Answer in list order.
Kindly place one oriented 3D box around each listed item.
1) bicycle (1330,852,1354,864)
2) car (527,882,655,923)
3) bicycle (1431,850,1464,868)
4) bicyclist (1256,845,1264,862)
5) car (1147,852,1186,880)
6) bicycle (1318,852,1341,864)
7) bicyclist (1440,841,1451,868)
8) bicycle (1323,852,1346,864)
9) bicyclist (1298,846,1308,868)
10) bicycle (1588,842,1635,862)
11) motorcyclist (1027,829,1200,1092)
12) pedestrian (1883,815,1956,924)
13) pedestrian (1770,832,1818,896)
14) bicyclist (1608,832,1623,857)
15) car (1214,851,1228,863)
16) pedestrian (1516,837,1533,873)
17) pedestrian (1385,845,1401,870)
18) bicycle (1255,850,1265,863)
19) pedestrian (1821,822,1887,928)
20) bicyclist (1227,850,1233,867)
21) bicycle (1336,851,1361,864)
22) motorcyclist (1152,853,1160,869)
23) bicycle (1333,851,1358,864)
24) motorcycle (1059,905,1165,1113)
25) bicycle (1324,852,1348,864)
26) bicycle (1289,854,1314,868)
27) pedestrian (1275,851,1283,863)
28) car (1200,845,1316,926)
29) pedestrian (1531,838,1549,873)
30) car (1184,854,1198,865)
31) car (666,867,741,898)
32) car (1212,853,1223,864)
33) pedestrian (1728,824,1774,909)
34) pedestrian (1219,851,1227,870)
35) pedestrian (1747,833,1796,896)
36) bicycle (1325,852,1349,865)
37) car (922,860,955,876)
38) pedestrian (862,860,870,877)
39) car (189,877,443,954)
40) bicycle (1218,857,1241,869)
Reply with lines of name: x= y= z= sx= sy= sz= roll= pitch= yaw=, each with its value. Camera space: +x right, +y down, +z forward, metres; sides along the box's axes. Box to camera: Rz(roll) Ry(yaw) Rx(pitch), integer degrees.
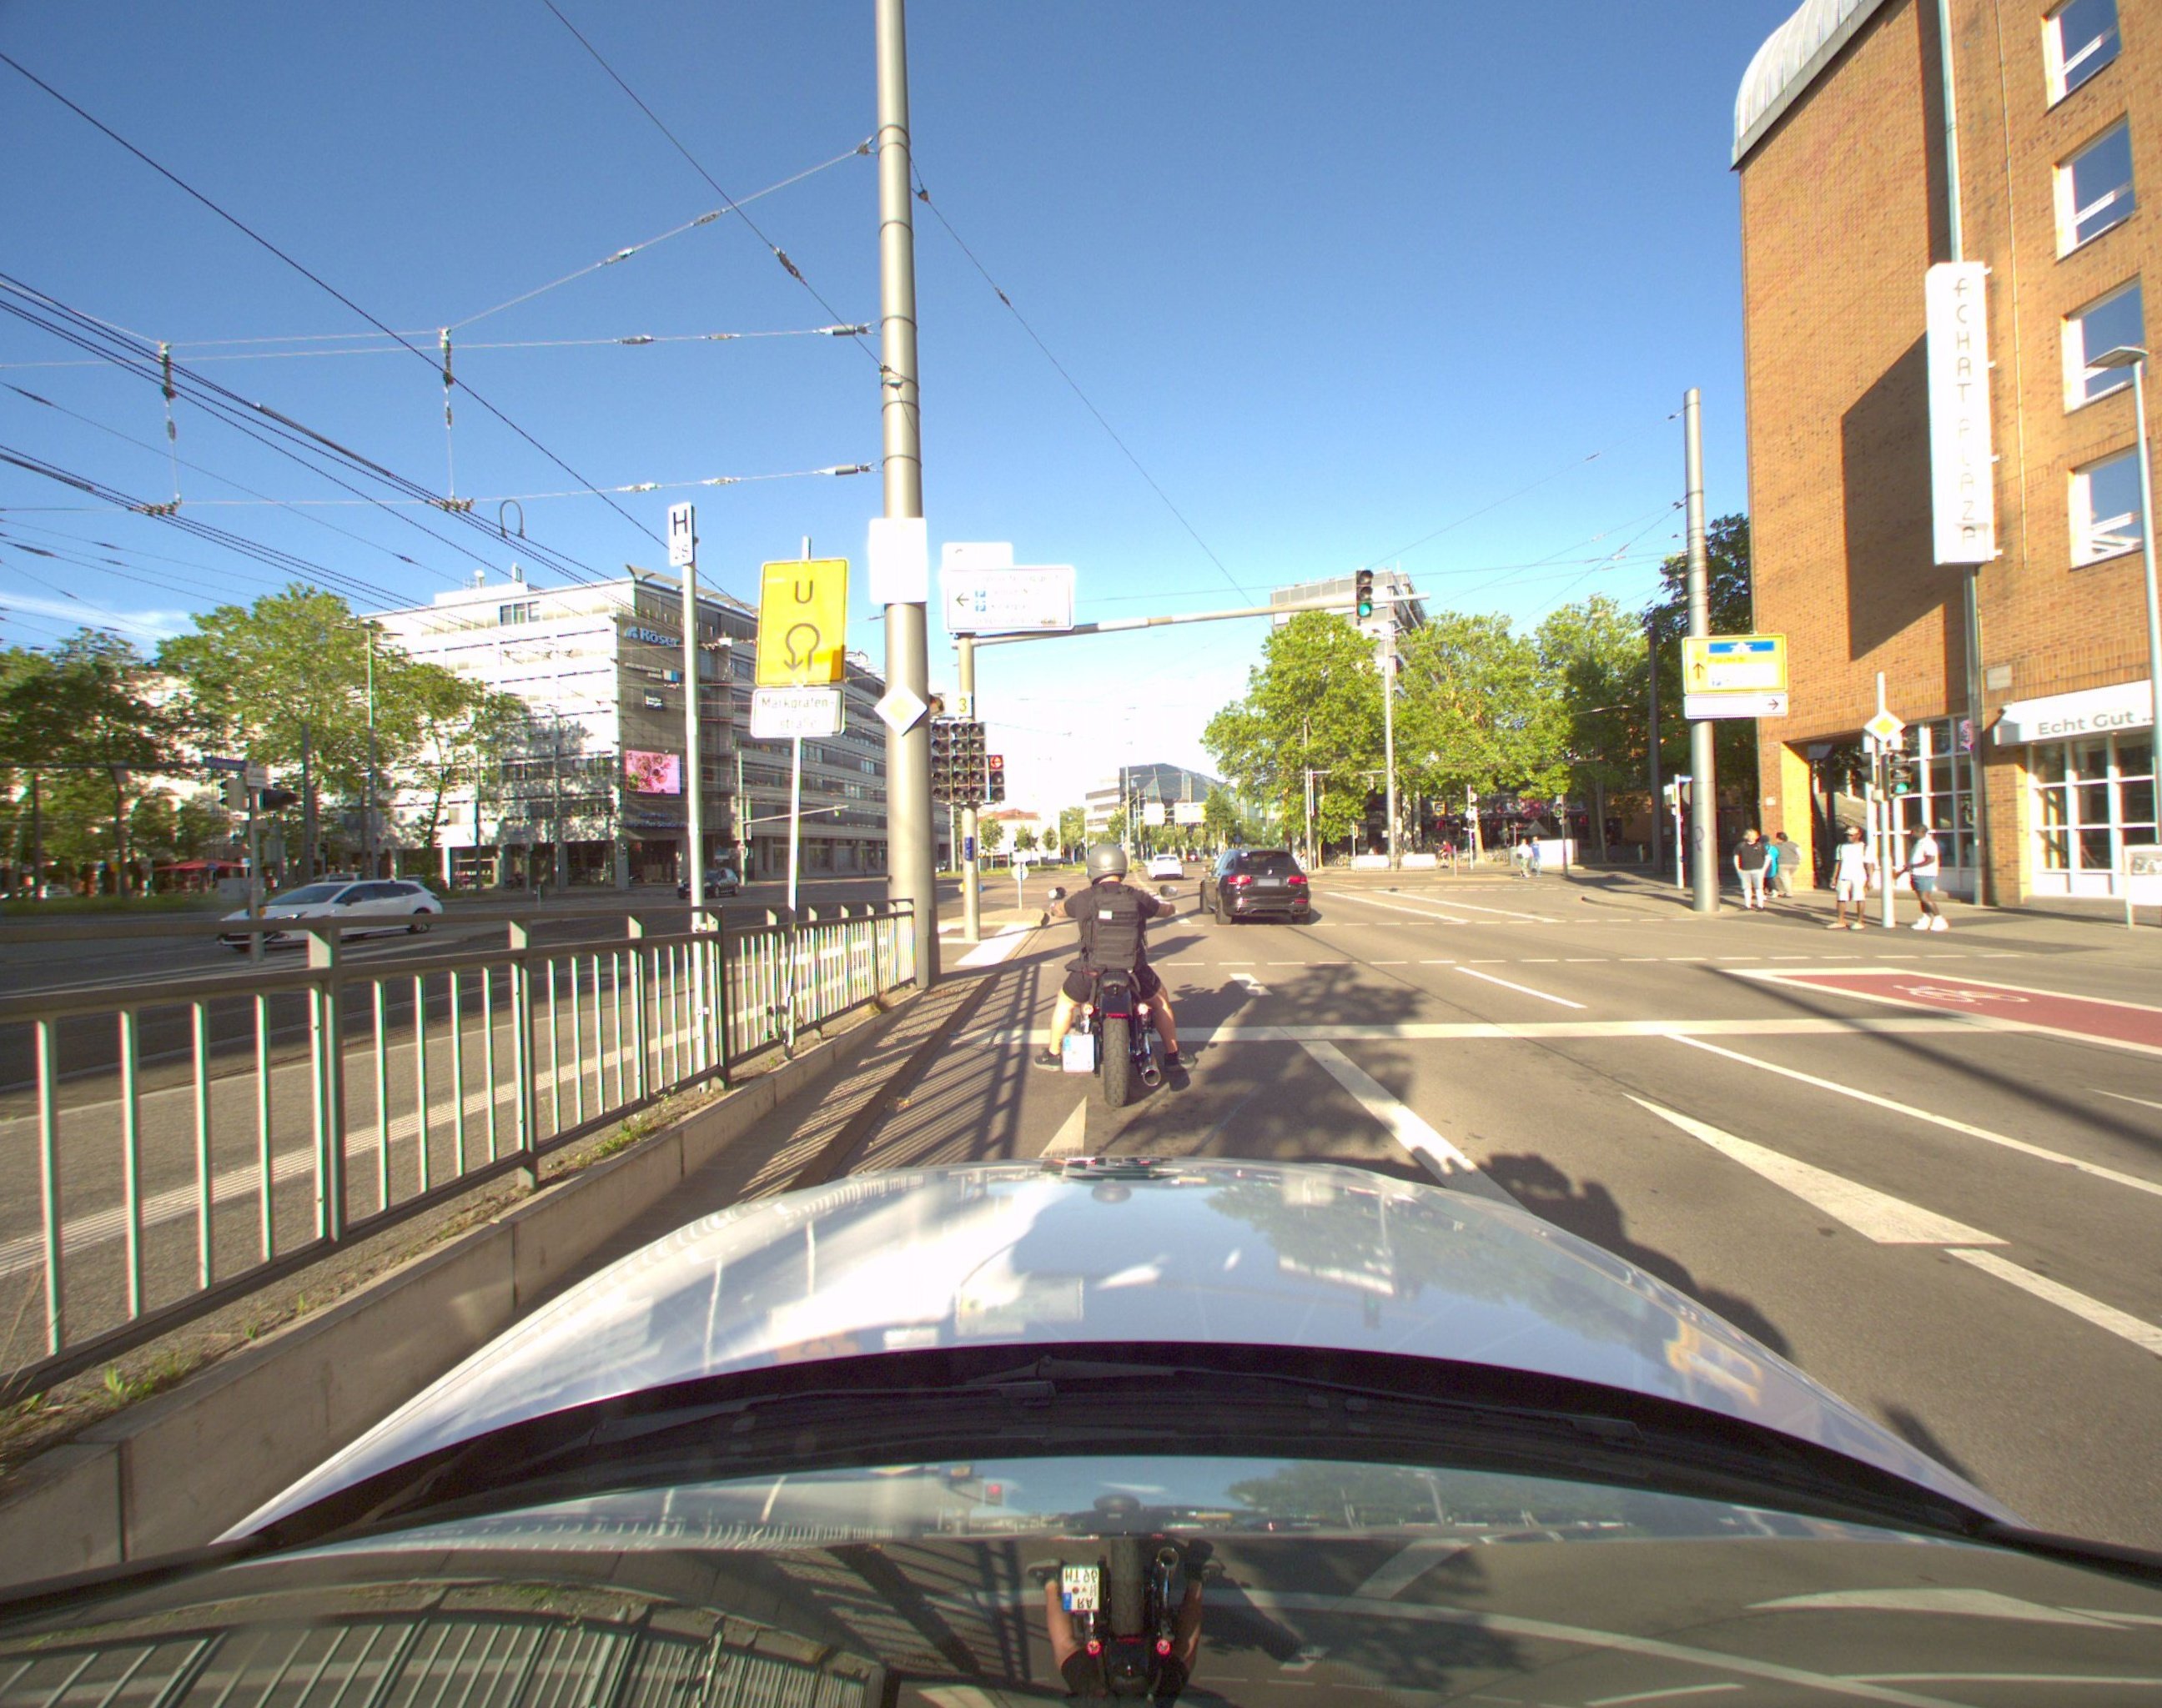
bicycle: x=21.465 y=0.332 z=66.985 sx=1.874 sy=1.046 sz=0.360 roll=0 pitch=-1 yaw=1
car: x=-13.837 y=1.357 z=23.144 sx=2.884 sy=1.063 sz=1.235 roll=0 pitch=-1 yaw=-19
bicycle: x=25.252 y=0.351 z=56.148 sx=2.034 sy=1.214 sz=0.421 roll=0 pitch=-1 yaw=2
bicyclist: x=18.665 y=-0.070 z=84.955 sx=0.693 sy=1.808 sz=0.730 roll=0 pitch=-1 yaw=6
car: x=4.786 y=0.655 z=46.153 sx=1.797 sy=1.430 sz=4.453 roll=-2 pitch=0 yaw=1
bicycle: x=21.486 y=0.359 z=70.311 sx=1.874 sy=1.046 sz=0.360 roll=0 pitch=0 yaw=1
bicyclist: x=25.123 y=0.043 z=56.162 sx=0.582 sy=1.837 sz=0.403 roll=0 pitch=-1 yaw=1
bicycle: x=21.500 y=0.353 z=69.159 sx=1.874 sy=1.046 sz=0.360 roll=0 pitch=0 yaw=1
bicyclist: x=17.731 y=0.245 z=64.927 sx=0.682 sy=1.673 sz=0.544 roll=-2 pitch=-2 yaw=21
bicycle: x=31.823 y=-0.090 z=48.864 sx=2.302 sy=1.178 sz=0.571 roll=-1 pitch=-1 yaw=20
motorcyclist: x=0.213 y=0.658 z=5.459 sx=1.027 sy=1.593 sz=0.874 roll=-2 pitch=0 yaw=1
pedestrian: x=14.173 y=0.252 z=13.774 sx=0.682 sy=1.780 sz=0.589 roll=-2 pitch=-1 yaw=-24
pedestrian: x=16.924 y=0.242 z=19.346 sx=0.590 sy=1.476 sz=0.552 roll=-2 pitch=-1 yaw=2
bicyclist: x=32.038 y=-0.555 z=48.792 sx=0.626 sy=1.519 sz=0.570 roll=-1 pitch=-1 yaw=21
car: x=21.268 y=0.478 z=123.750 sx=1.719 sy=1.732 sz=4.629 roll=0 pitch=0 yaw=14
pedestrian: x=19.107 y=0.057 z=35.086 sx=0.561 sy=1.533 sz=0.706 roll=-1 pitch=-1 yaw=22
pedestrian: x=21.683 y=0.250 z=56.679 sx=0.829 sy=1.704 sz=0.760 roll=0 pitch=-1 yaw=2
bicycle: x=18.687 y=0.275 z=85.153 sx=0.722 sy=1.367 sz=2.922 roll=0 pitch=-1 yaw=6
pedestrian: x=13.561 y=0.361 z=14.303 sx=0.587 sy=1.780 sz=0.686 roll=-5 pitch=0 yaw=30
bicyclist: x=12.283 y=0.395 z=66.978 sx=0.380 sy=1.373 sz=0.344 roll=0 pitch=-1 yaw=-7
bicycle: x=21.473 y=0.286 z=65.388 sx=1.874 sy=1.046 sz=0.360 roll=0 pitch=-1 yaw=1
motorcyclist: x=7.531 y=0.698 z=81.663 sx=0.792 sy=1.580 sz=0.530 roll=0 pitch=-1 yaw=6
bicycle: x=21.471 y=0.308 z=66.170 sx=1.874 sy=1.046 sz=0.360 roll=0 pitch=-1 yaw=1
motorcycle: x=0.212 y=0.951 z=5.746 sx=0.598 sy=1.036 sz=2.235 roll=0 pitch=0 yaw=2
bicycle: x=21.501 y=0.353 z=68.659 sx=1.874 sy=1.046 sz=0.360 roll=0 pitch=0 yaw=1
bicycle: x=17.562 y=0.566 z=64.985 sx=1.854 sy=1.044 sz=0.540 roll=-1 pitch=-1 yaw=20
pedestrian: x=21.952 y=0.283 z=90.253 sx=0.814 sy=1.314 sz=0.640 roll=-1 pitch=-1 yaw=11
car: x=3.838 y=0.630 z=18.409 sx=1.796 sy=1.595 sz=4.455 roll=0 pitch=0 yaw=2
pedestrian: x=19.770 y=0.081 z=35.093 sx=0.561 sy=1.479 sz=0.706 roll=-1 pitch=-1 yaw=22
car: x=17.815 y=0.917 z=131.806 sx=1.790 sy=1.678 sz=4.055 roll=0 pitch=-1 yaw=14
car: x=-18.332 y=1.345 z=39.761 sx=1.821 sy=1.430 sz=4.237 roll=0 pitch=-1 yaw=-2
car: x=25.260 y=0.828 z=150.388 sx=1.717 sy=1.838 sz=3.589 roll=-1 pitch=-1 yaw=14
pedestrian: x=14.498 y=0.272 z=17.632 sx=0.727 sy=1.792 sz=0.515 roll=-1 pitch=-1 yaw=42
pedestrian: x=12.000 y=0.542 z=68.722 sx=0.587 sy=1.557 sz=0.488 roll=0 pitch=-1 yaw=-6
pedestrian: x=16.297 y=0.243 z=19.229 sx=0.590 sy=1.452 sz=0.601 roll=-2 pitch=-1 yaw=2
bicycle: x=21.443 y=0.359 z=68.174 sx=1.874 sy=1.046 sz=0.360 roll=0 pitch=-1 yaw=1
car: x=-13.971 y=1.387 z=80.262 sx=1.737 sy=1.524 sz=4.014 roll=-1 pitch=-1 yaw=13
pedestrian: x=-24.433 y=1.643 z=92.634 sx=0.628 sy=2.014 sz=0.754 roll=0 pitch=-1 yaw=2
car: x=-17.791 y=1.347 z=19.318 sx=1.821 sy=1.430 sz=4.526 roll=-2 pitch=0 yaw=-2
bicycle: x=12.188 y=0.755 z=66.953 sx=1.823 sy=0.925 sz=0.357 roll=0 pitch=-1 yaw=-7
